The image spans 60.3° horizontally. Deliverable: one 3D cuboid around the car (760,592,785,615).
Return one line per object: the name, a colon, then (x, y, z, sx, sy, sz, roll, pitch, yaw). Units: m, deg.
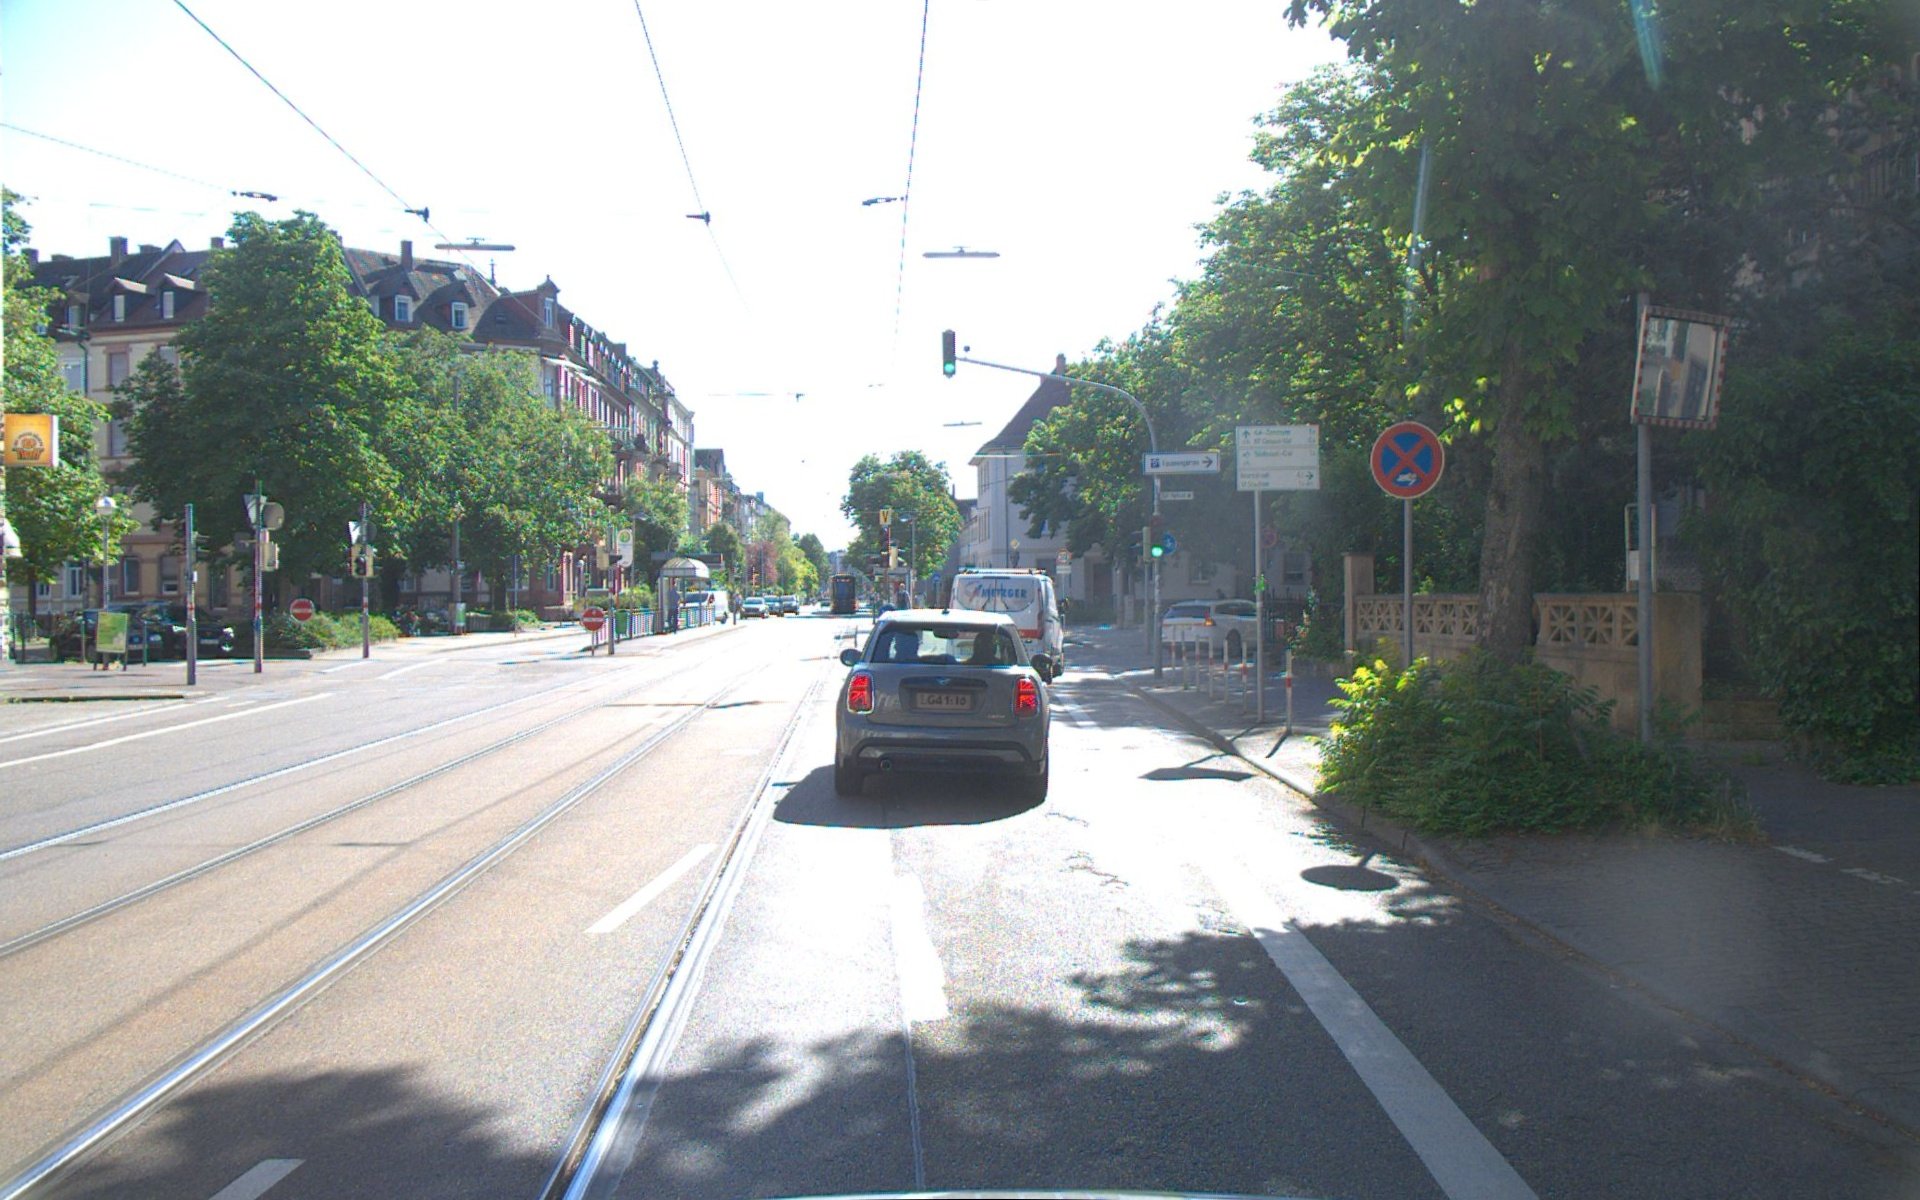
car: (-14.100, 0.286, 124.604, 1.741, 1.646, 3.996, 0, 0, -5)

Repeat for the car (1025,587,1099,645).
car: (3.127, 0.493, 51.432, 1.953, 1.736, 3.999, 0, 0, -1)

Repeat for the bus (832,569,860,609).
bus: (-10.428, -0.935, 150.838, 2.339, 3.558, 7.375, 0, 0, -6)

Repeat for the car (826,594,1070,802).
car: (-0.136, 0.737, 14.130, 1.779, 1.514, 3.999, 0, 0, -2)

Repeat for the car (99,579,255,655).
car: (-22.106, 0.461, 46.685, 3.909, 2.049, 1.998, 0, -1, 27)

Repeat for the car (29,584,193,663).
car: (-22.838, 0.615, 44.485, 3.909, 2.049, 1.998, 0, -1, 27)

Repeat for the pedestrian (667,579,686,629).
pedestrian: (-10.627, 0.144, 61.962, 0.569, 1.826, 0.604, -1, 0, -19)

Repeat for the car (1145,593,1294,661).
car: (6.680, 0.675, 42.372, 1.964, 1.646, 3.976, 0, -1, 42)

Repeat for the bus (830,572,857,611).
bus: (-11.147, -0.766, 158.194, 2.339, 3.558, 7.375, 0, 0, -6)

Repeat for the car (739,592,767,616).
car: (-14.429, 0.278, 115.536, 1.741, 1.646, 3.996, 0, 0, -5)

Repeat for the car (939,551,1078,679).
car: (1.022, 0.275, 31.720, 2.073, 2.247, 4.948, 0, 0, 8)

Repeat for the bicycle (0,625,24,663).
bicycle: (-25.497, 1.149, 42.946, 0.598, 0.997, 2.031, 0, -1, 35)

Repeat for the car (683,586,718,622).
car: (-15.205, 0.245, 97.168, 1.956, 2.049, 5.019, 1, 0, -8)

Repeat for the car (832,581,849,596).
car: (-13.307, -1.274, 183.632, 1.827, 1.591, 3.996, 0, 0, -5)

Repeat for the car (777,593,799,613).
car: (-14.461, 0.267, 139.061, 1.741, 1.646, 3.996, 0, 0, -5)

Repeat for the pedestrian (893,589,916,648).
pedestrian: (-1.933, 0.656, 57.691, 0.779, 2.049, 0.740, 0, -1, -3)

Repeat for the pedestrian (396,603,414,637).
pedestrian: (-20.773, 0.744, 61.882, 0.569, 1.223, 0.604, -1, 0, -22)

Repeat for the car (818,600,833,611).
car: (-20.299, 0.780, 249.675, 1.953, 1.624, 3.999, 0, 0, -1)

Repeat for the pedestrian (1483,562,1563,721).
pedestrian: (6.193, 0.450, 18.206, 0.580, 1.700, 0.646, -2, -1, -2)
